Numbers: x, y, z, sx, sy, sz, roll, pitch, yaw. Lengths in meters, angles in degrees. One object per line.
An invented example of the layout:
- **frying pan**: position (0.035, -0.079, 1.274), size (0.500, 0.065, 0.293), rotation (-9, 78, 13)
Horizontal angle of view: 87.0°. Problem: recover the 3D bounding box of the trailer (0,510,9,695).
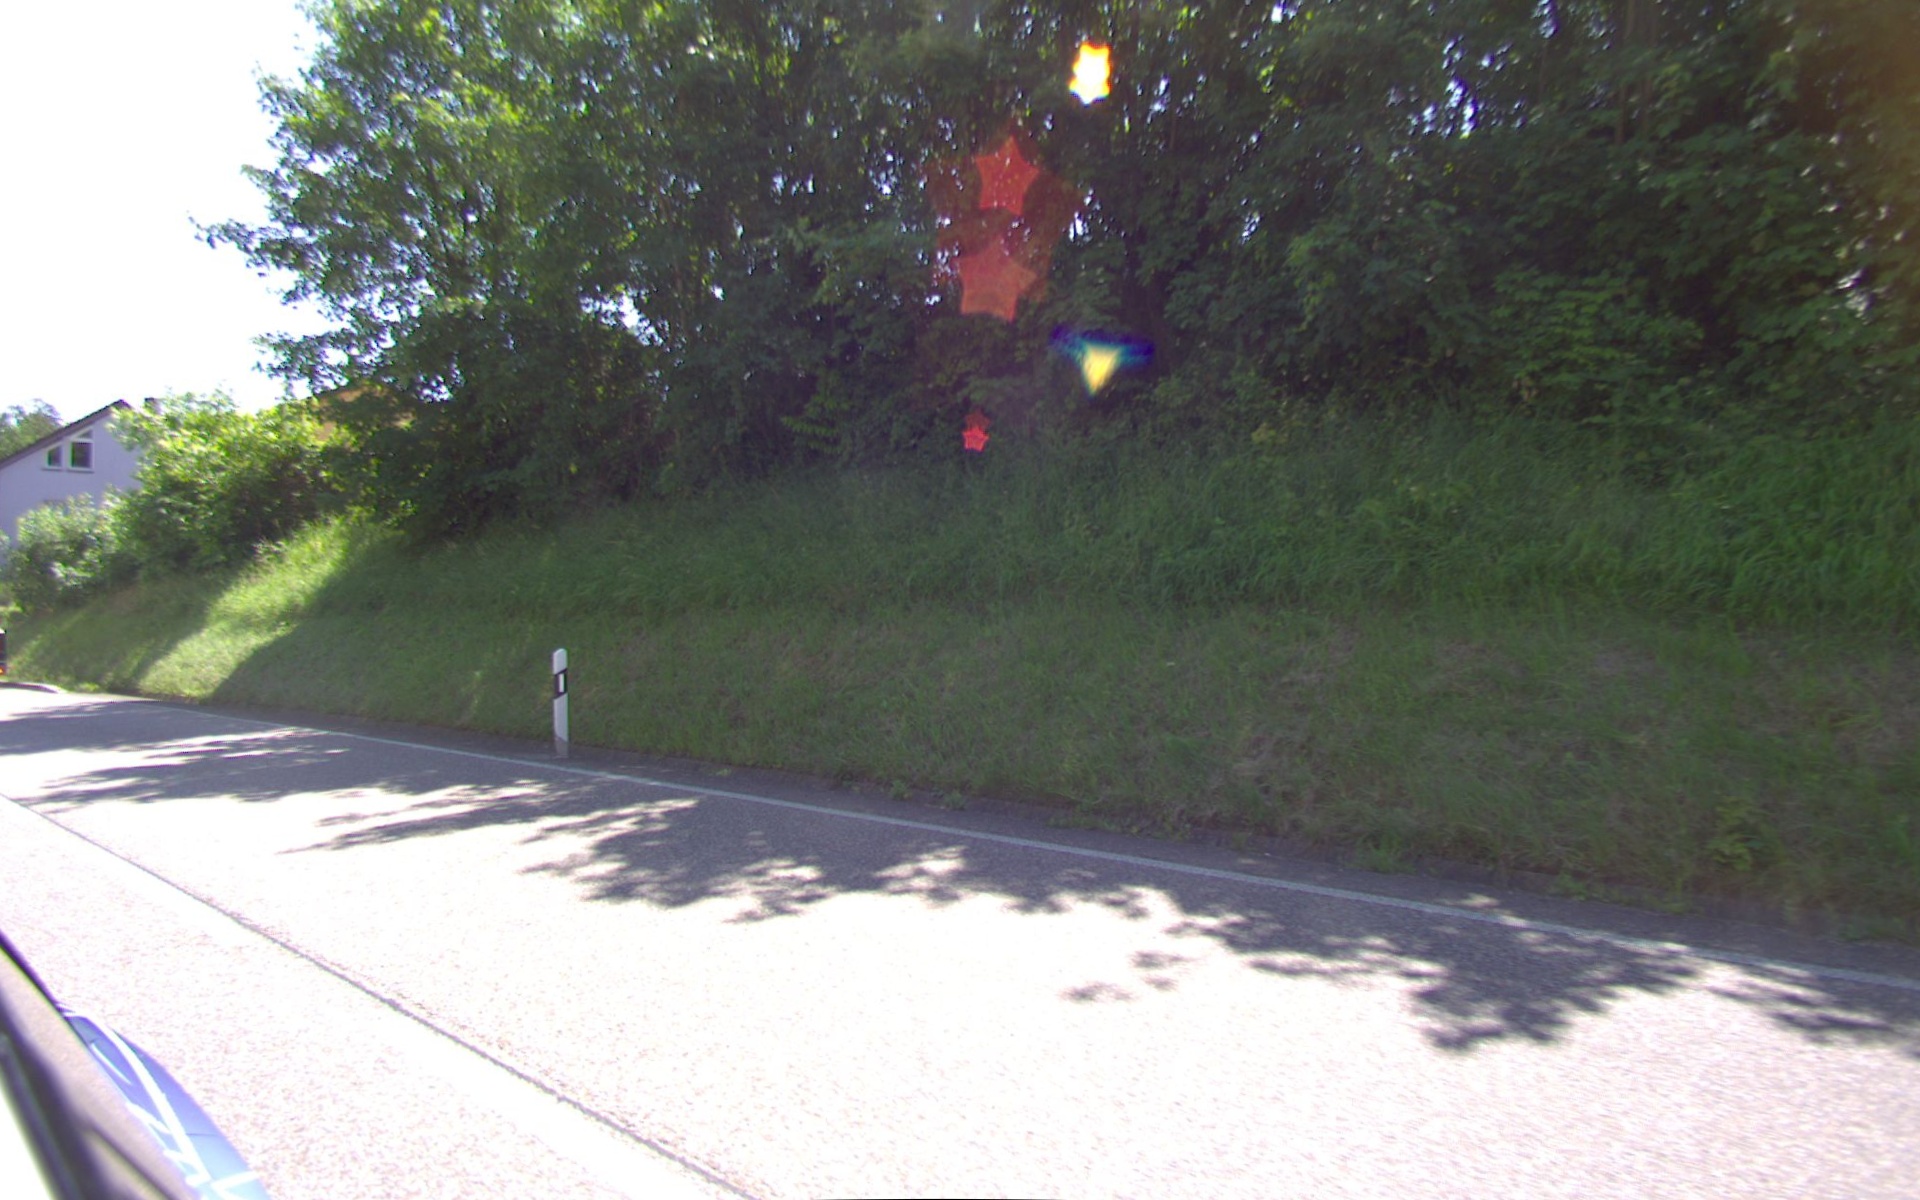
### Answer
- **trailer**: position (-22.904, 0.103, 20.312), size (11.100, 3.398, 2.614), rotation (-1, 0, 31)
